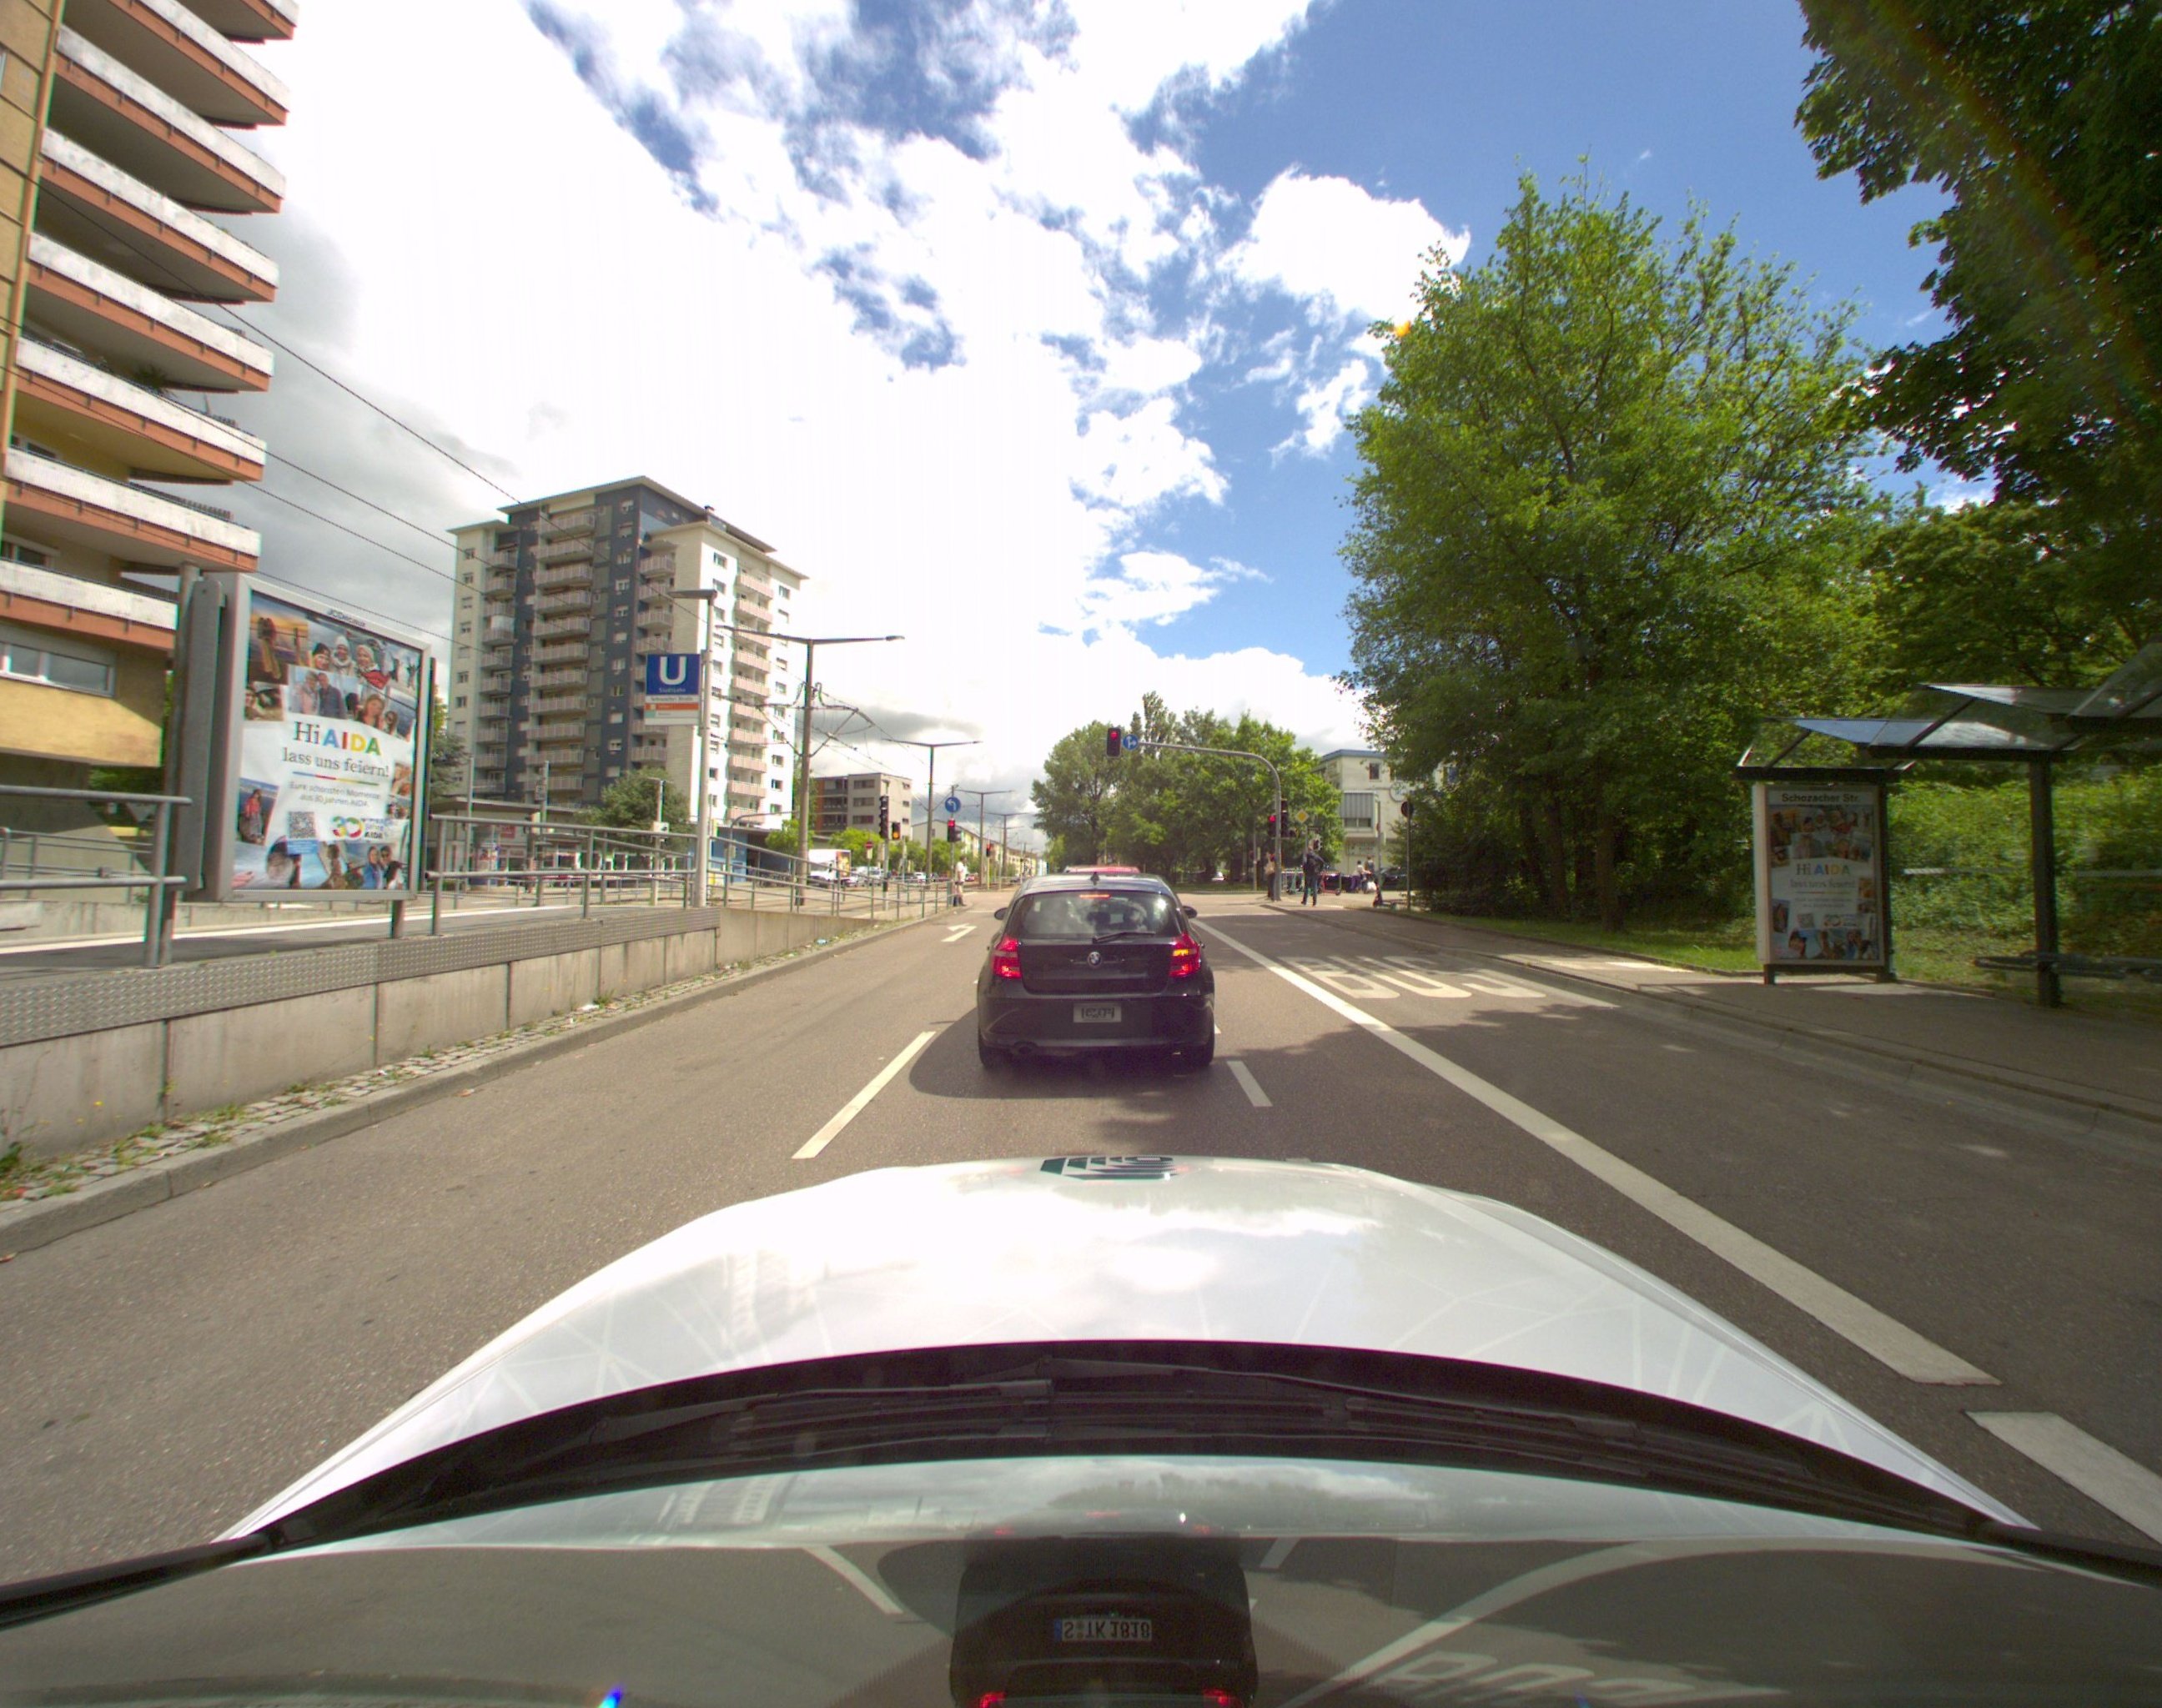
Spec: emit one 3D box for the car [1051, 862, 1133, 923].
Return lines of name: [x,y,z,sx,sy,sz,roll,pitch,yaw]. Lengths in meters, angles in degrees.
car: [0.336,0.922,21.218,1.893,1.422,4.540,0,-1,2]

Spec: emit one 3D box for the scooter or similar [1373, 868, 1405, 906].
scooter or similar: [10.760,1.154,28.436,0.886,1.230,0.455,4,-1,1]

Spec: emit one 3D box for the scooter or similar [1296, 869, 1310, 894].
scooter or similar: [9.483,1.164,34.800,0.543,1.064,1.267,0,-1,16]

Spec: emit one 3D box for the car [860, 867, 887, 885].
car: [-20.521,2.193,80.737,1.586,1.756,3.775,0,-1,1]

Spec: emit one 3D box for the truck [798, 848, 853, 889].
truck: [-20.521,1.186,65.808,2.275,3.118,7.312,0,-1,-2]

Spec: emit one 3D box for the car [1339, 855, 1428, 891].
car: [17.800,1.111,48.016,4.529,2.014,1.996,-1,-1,-6]

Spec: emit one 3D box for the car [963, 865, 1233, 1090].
car: [0.157,0.801,6.840,1.694,1.400,3.421,0,-1,2]

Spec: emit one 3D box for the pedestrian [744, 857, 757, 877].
pedestrian: [-33.107,1.291,81.652,0.852,2.014,0.851,-1,-1,19]

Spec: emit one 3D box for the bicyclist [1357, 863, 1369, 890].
bicyclist: [12.396,0.997,35.804,0.396,1.157,0.504,-1,-1,12]

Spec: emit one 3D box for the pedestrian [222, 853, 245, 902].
pedestrian: [-35.079,0.951,33.716,0.542,2.014,0.556,0,-1,-36]

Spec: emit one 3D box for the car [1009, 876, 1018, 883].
car: [-14.302,5.304,172.689,1.790,1.410,3.995,0,-1,-3]

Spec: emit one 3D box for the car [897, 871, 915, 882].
car: [-24.145,3.054,112.661,1.586,1.474,3.775,0,-1,1]

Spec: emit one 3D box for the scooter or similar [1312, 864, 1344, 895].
scooter or similar: [10.245,1.042,33.767,1.145,1.272,0.556,1,-1,4]

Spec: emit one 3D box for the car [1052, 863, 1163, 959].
car: [0.448,0.857,13.741,1.632,1.400,3.421,0,-1,2]

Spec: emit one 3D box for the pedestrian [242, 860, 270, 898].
pedestrian: [-31.903,0.975,31.504,0.495,1.440,0.551,-3,-1,9]

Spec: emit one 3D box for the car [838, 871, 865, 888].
car: [-20.670,2.244,73.470,1.402,1.461,3.773,0,-1,0]

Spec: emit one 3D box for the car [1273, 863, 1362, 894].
car: [11.941,1.214,41.275,3.981,1.486,1.843,0,-1,-6]

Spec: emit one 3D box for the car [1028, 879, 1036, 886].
car: [-11.307,6.423,185.973,1.649,1.534,3.863,0,-1,-6]

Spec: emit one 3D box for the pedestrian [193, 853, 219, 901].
pedestrian: [-37.672,0.981,35.068,0.541,2.014,0.557,0,-1,-24]

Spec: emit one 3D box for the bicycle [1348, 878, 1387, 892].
bicycle: [12.559,1.359,35.765,1.574,0.610,0.536,0,-1,13]

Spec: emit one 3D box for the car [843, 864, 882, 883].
car: [-24.207,2.163,90.331,3.945,1.975,1.637,0,-1,-41]

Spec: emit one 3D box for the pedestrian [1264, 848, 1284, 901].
pedestrian: [6.795,0.716,28.652,0.632,1.876,0.519,0,-1,10]

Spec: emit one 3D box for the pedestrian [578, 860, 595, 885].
pedestrian: [-39.650,1.474,65.332,0.851,2.014,0.852,-1,-1,29]

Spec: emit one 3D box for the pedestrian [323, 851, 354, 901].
pedestrian: [-27.264,0.800,29.913,0.650,1.776,0.667,-1,-1,30]

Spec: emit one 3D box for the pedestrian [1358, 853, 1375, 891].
pedestrian: [13.124,0.838,37.387,0.651,1.713,0.464,-1,-1,28]

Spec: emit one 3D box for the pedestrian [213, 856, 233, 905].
pedestrian: [-36.412,1.117,34.558,0.555,2.014,0.543,-1,-1,39]

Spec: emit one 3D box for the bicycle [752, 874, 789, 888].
bicycle: [-23.992,2.112,62.900,2.570,1.009,0.749,2,-3,-27]

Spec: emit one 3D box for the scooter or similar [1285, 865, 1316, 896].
scooter or similar: [8.845,1.047,32.871,1.105,1.235,0.540,0,-1,4]

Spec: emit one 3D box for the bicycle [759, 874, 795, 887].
bicycle: [-24.274,2.145,65.077,2.570,1.009,0.749,2,-3,-27]

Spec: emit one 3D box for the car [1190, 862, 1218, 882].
car: [11.995,1.758,79.621,1.724,1.871,3.990,0,-1,-7]

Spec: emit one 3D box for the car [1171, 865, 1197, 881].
car: [11.429,2.091,90.562,1.862,1.662,3.987,0,-1,-9]

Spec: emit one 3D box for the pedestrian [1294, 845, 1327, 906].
pedestrian: [7.204,0.659,25.638,0.792,1.876,1.014,-1,-1,4]

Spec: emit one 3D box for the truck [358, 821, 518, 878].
truck: [-35.209,-0.219,44.685,7.222,2.940,2.768,-1,-1,11]

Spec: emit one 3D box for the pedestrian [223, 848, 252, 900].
pedestrian: [-32.823,0.782,31.687,0.557,2.014,0.542,0,-1,10]

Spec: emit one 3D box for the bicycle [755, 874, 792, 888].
bicycle: [-24.151,2.135,63.972,2.570,1.009,0.749,2,-3,-27]

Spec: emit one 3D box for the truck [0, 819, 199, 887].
truck: [-34.572,-0.021,28.754,4.262,2.290,2.352,0,-1,2]

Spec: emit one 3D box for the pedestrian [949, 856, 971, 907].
pedestrian: [-4.141,0.930,27.869,0.687,1.734,0.685,0,-1,-11]
